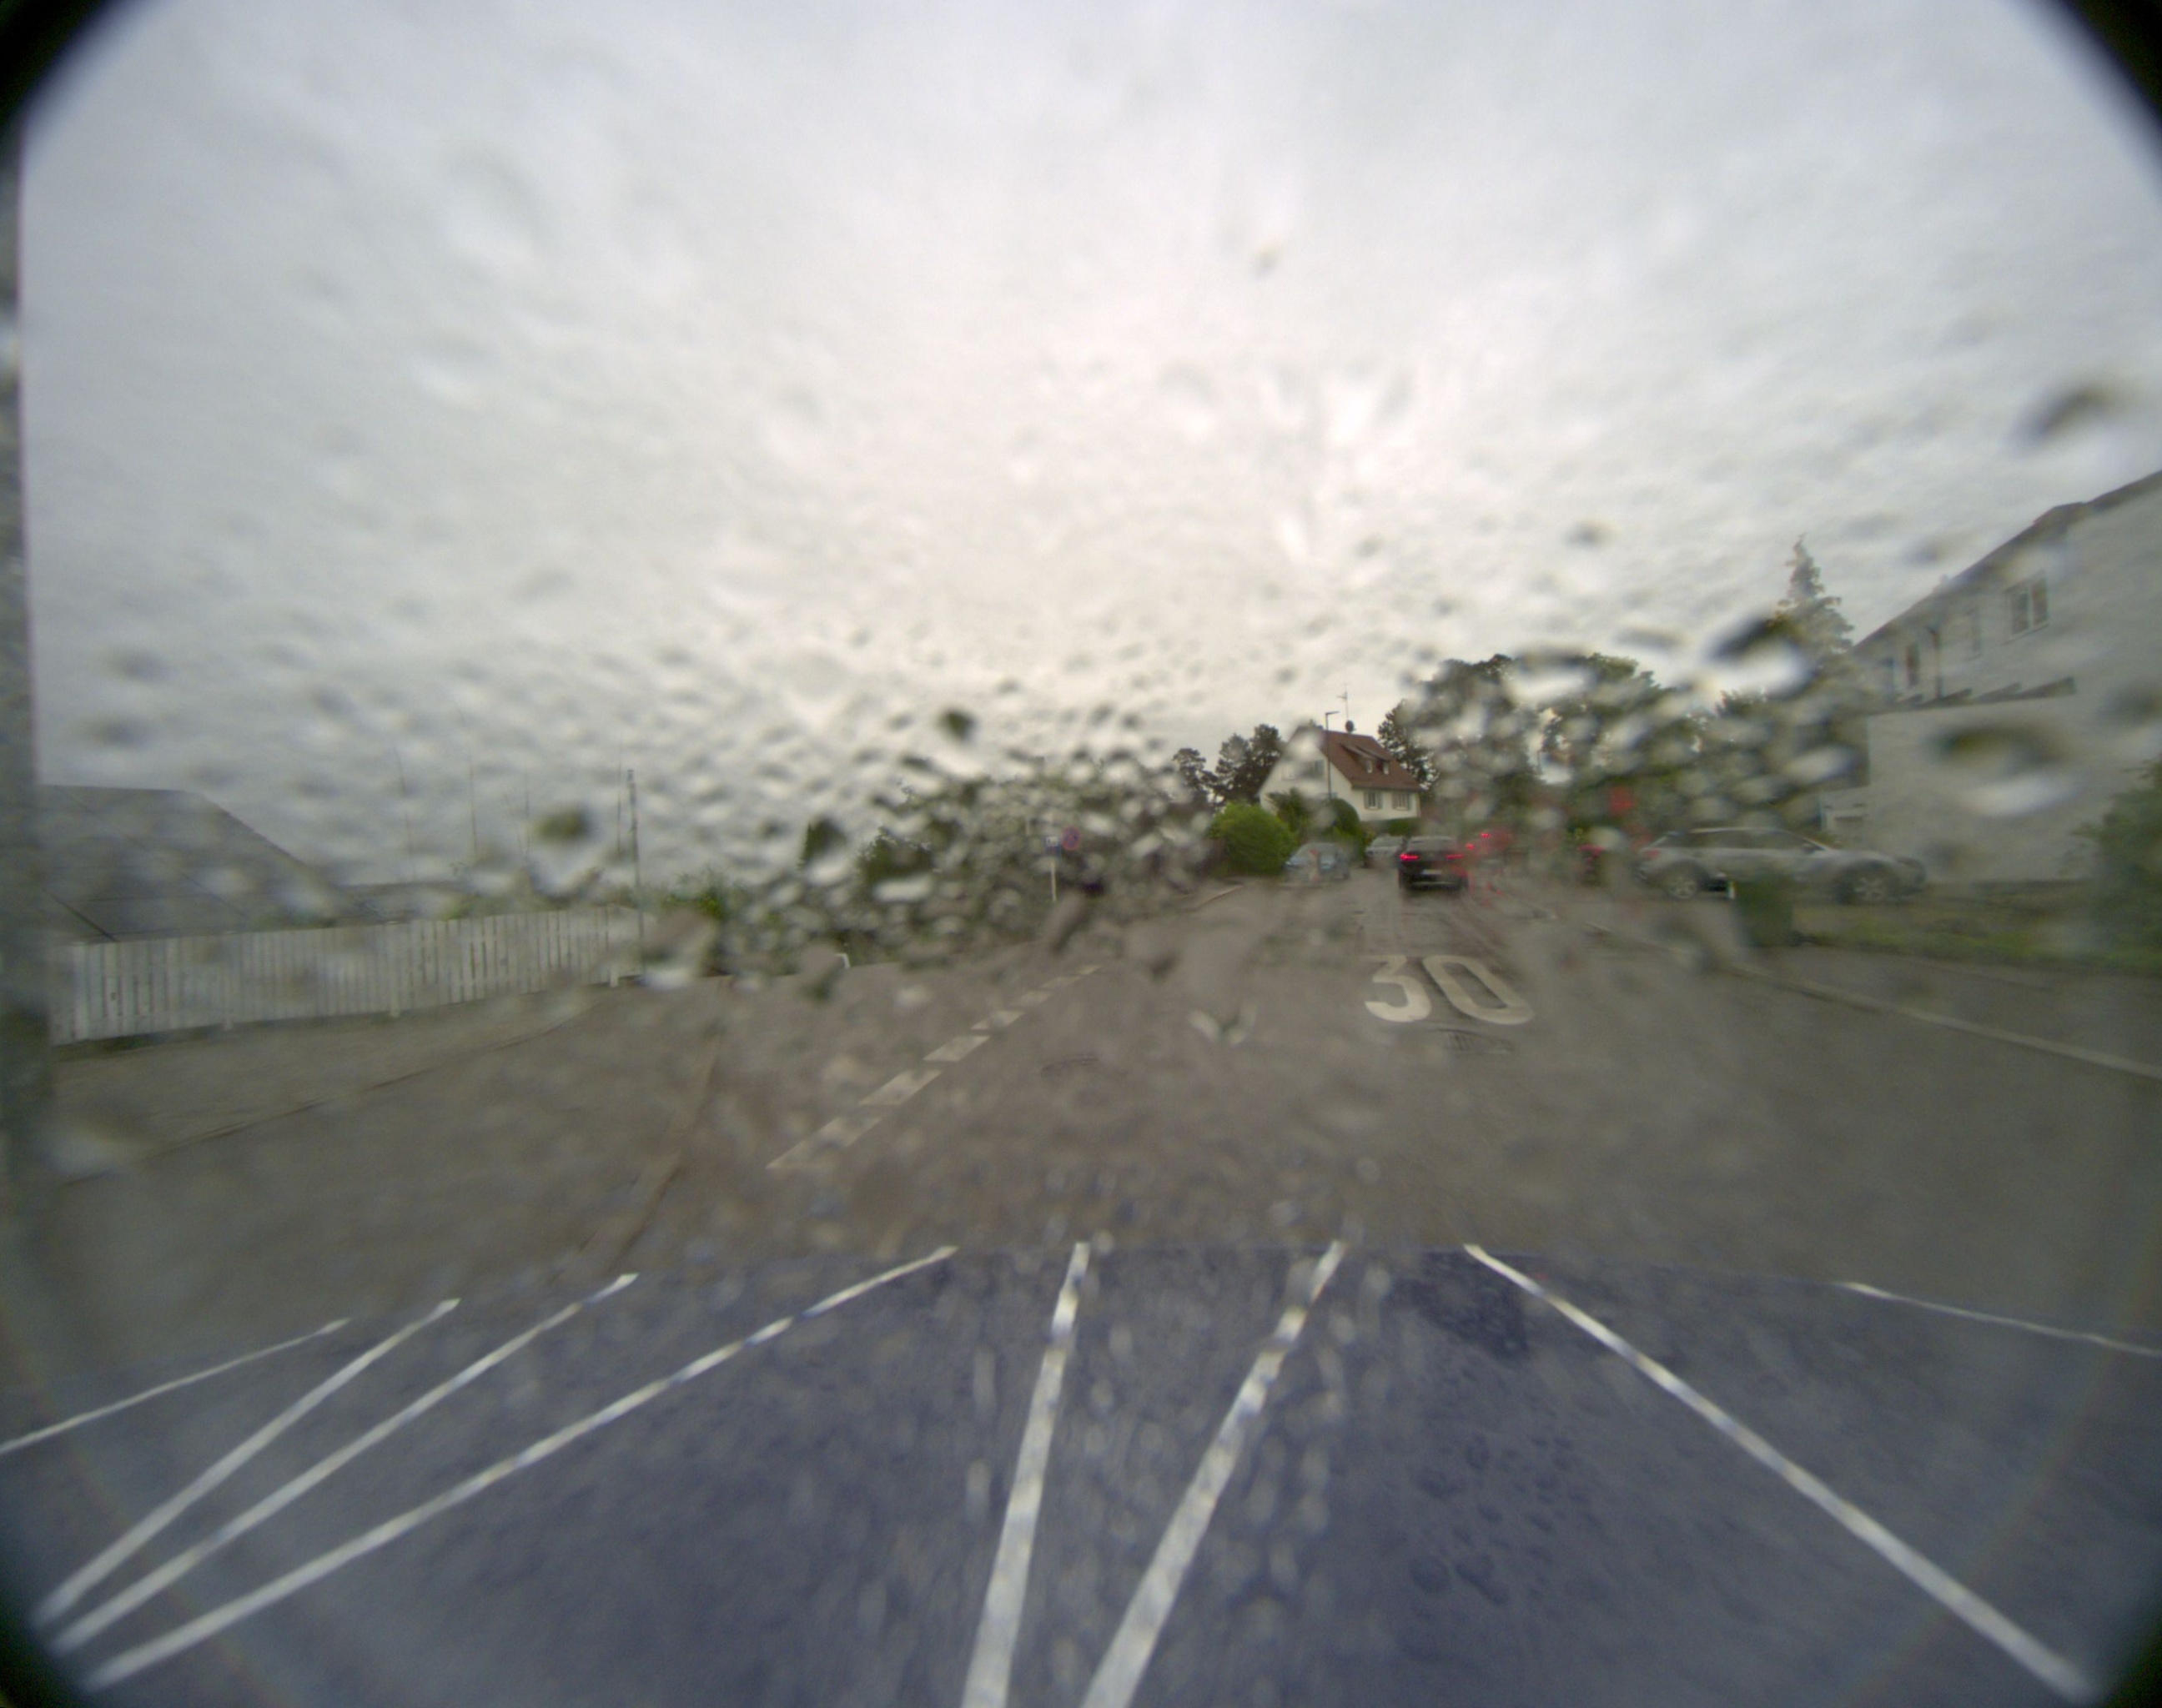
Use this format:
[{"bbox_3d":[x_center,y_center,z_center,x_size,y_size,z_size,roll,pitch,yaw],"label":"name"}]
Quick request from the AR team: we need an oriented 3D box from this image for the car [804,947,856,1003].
[{"bbox_3d":[-9.794,4.808,29.844,1.756,1.728,4.003,-3,-11,-17],"label":"car"}]

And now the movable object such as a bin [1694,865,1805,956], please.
[{"bbox_3d":[8.321,0.703,9.500,0.846,1.061,0.623,-4,-1,25],"label":"movable object such as a bin"}]

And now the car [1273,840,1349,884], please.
[{"bbox_3d":[8.890,0.271,29.154,1.796,1.460,4.223,-2,1,30],"label":"car"}]

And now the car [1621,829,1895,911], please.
[{"bbox_3d":[13.480,0.266,15.498,3.988,1.432,1.772,0,3,36],"label":"car"}]

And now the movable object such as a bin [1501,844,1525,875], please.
[{"bbox_3d":[15.117,0.188,26.594,0.692,1.085,0.421,0,1,33],"label":"movable object such as a bin"}]

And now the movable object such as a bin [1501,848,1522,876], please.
[{"bbox_3d":[14.849,0.270,26.205,0.579,0.934,0.504,0,1,33],"label":"movable object such as a bin"}]

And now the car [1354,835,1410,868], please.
[{"bbox_3d":[16.012,-0.180,40.270,1.902,1.532,4.223,-2,1,33],"label":"car"}]

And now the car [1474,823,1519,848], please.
[{"bbox_3d":[30.225,-1.330,55.184,4.223,1.630,1.662,-4,1,-44],"label":"car"}]

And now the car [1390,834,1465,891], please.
[{"bbox_3d":[10.910,0.213,23.888,1.931,1.596,4.350,-2,1,25],"label":"car"}]

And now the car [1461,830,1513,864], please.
[{"bbox_3d":[21.068,-0.391,39.343,1.789,1.585,4.223,-2,1,35],"label":"car"}]
